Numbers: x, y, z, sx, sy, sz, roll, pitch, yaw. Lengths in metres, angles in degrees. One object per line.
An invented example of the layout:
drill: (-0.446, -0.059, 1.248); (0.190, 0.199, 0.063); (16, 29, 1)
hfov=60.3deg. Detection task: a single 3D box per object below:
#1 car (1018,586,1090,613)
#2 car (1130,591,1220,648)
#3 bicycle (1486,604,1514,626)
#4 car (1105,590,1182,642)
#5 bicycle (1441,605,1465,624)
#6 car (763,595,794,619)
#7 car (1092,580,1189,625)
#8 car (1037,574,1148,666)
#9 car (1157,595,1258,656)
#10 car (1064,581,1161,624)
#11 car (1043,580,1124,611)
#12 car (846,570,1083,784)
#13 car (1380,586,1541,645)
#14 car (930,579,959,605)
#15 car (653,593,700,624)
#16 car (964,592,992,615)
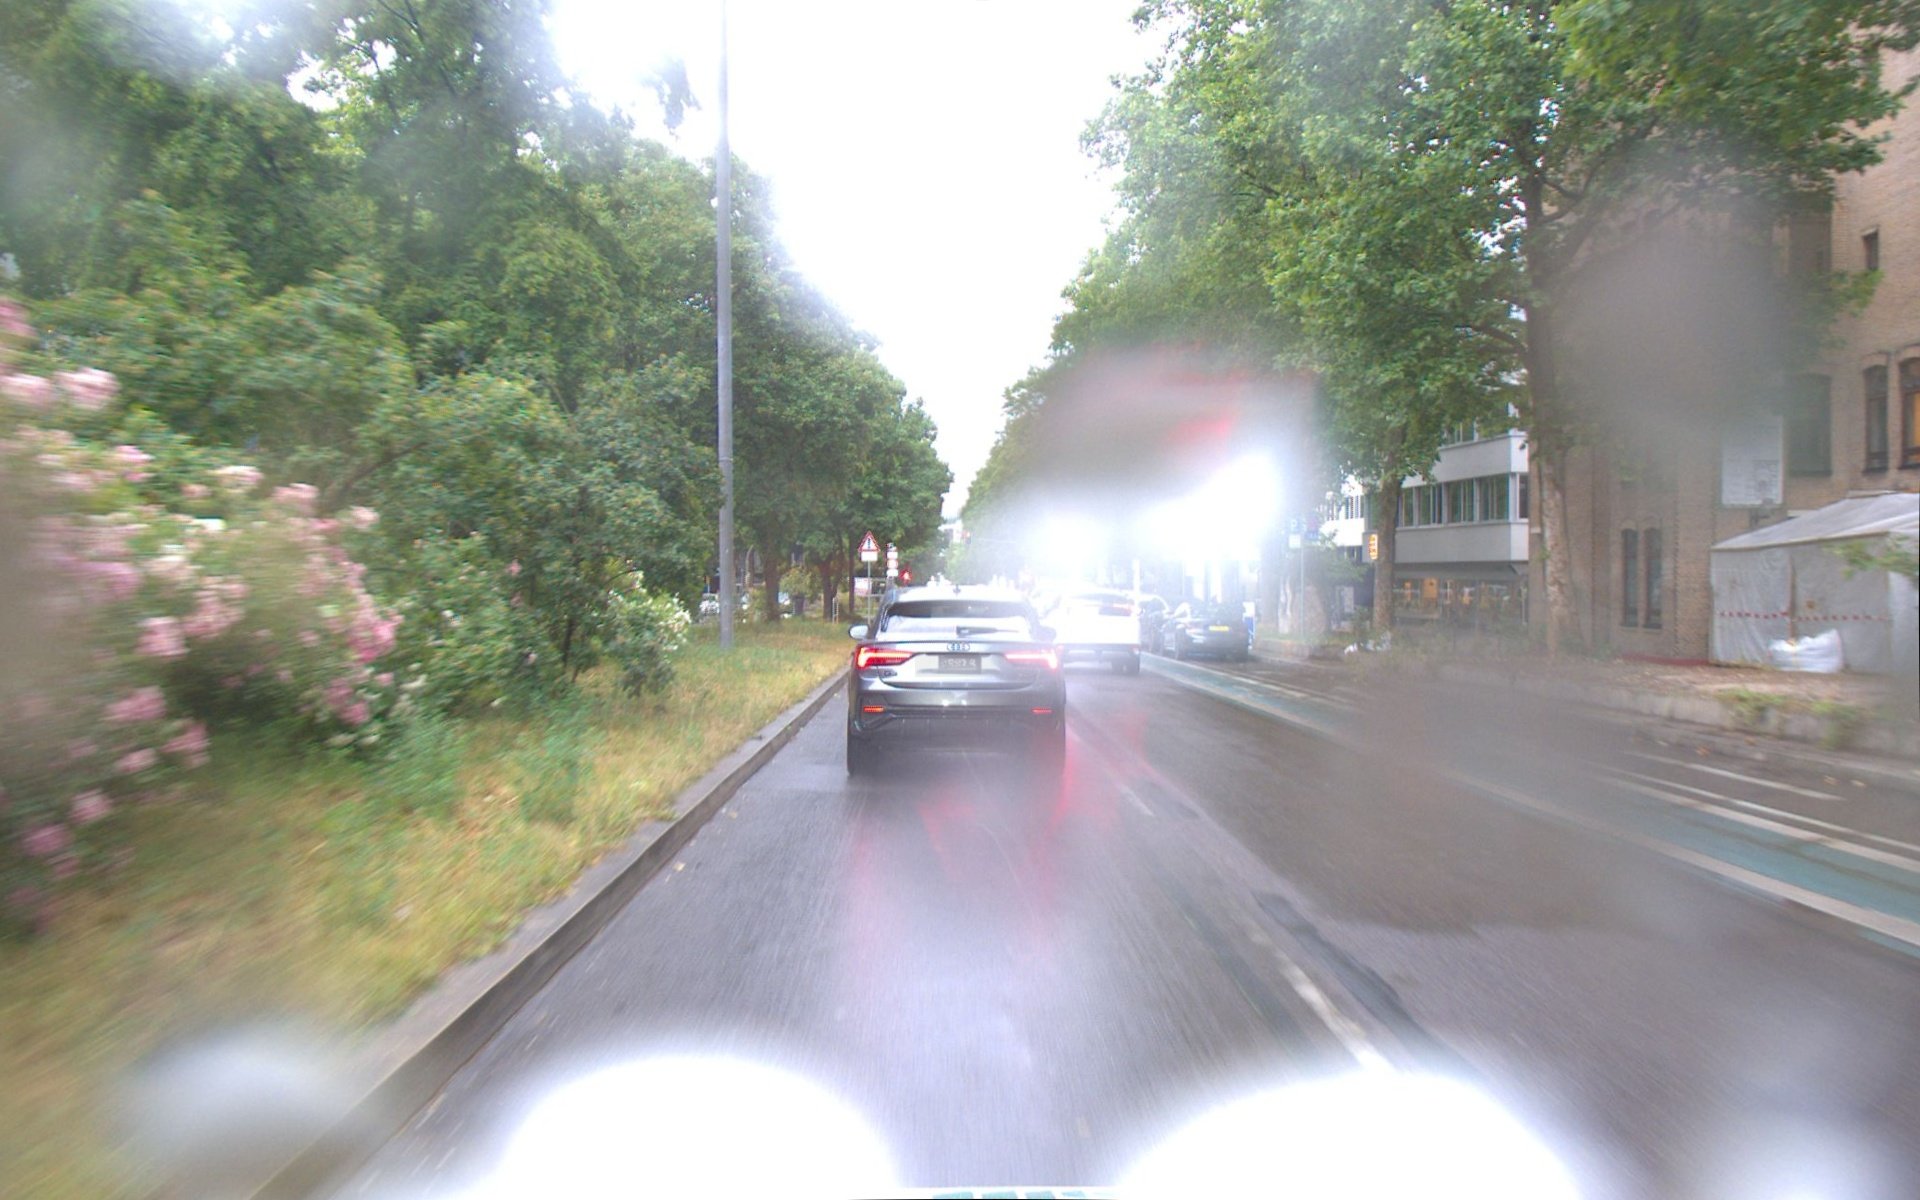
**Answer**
car: (6.547, -0.020, 115.341); (4.548, 1.736, 1.998); (1, -1, 27)
car: (6.333, 0.566, 49.139); (1.830, 1.547, 4.556); (2, 0, -3)
bicycle: (22.411, 0.620, 68.676); (0.439, 0.851, 2.026); (1, 0, -1)
car: (5.948, 0.522, 53.953); (1.694, 1.599, 4.069); (2, 0, -5)
bicycle: (22.128, 0.646, 74.313); (0.439, 0.851, 2.026); (1, 0, -1)
car: (-13.825, 0.516, 126.240); (1.724, 1.733, 4.333); (2, 0, 1)
car: (9.754, 0.128, 89.367); (4.787, 2.293, 1.997); (1, -1, 28)
car: (2.634, 0.397, 33.766); (1.840, 1.727, 3.999); (2, -1, -1)
car: (6.399, 0.637, 43.233); (1.835, 1.446, 4.610); (2, 0, -1)
car: (7.748, 0.129, 84.225); (4.517, 2.049, 1.960); (1, -1, 37)
car: (7.563, -0.284, 101.379); (4.548, 1.736, 1.998); (1, -1, 27)
car: (-0.029, 0.590, 14.742); (1.812, 1.630, 3.998); (1, 0, -2)
car: (10.012, 0.306, 33.103); (2.830, 1.093, 1.453); (1, -1, 30)
car: (-1.128, -0.559, 117.053); (1.953, 1.757, 3.998); (2, -1, -2)
car: (-13.702, 0.398, 80.131); (1.615, 1.460, 3.812); (0, 0, 0)
car: (1.368, 0.293, 125.558); (1.953, 1.680, 3.999); (2, -1, -1)
